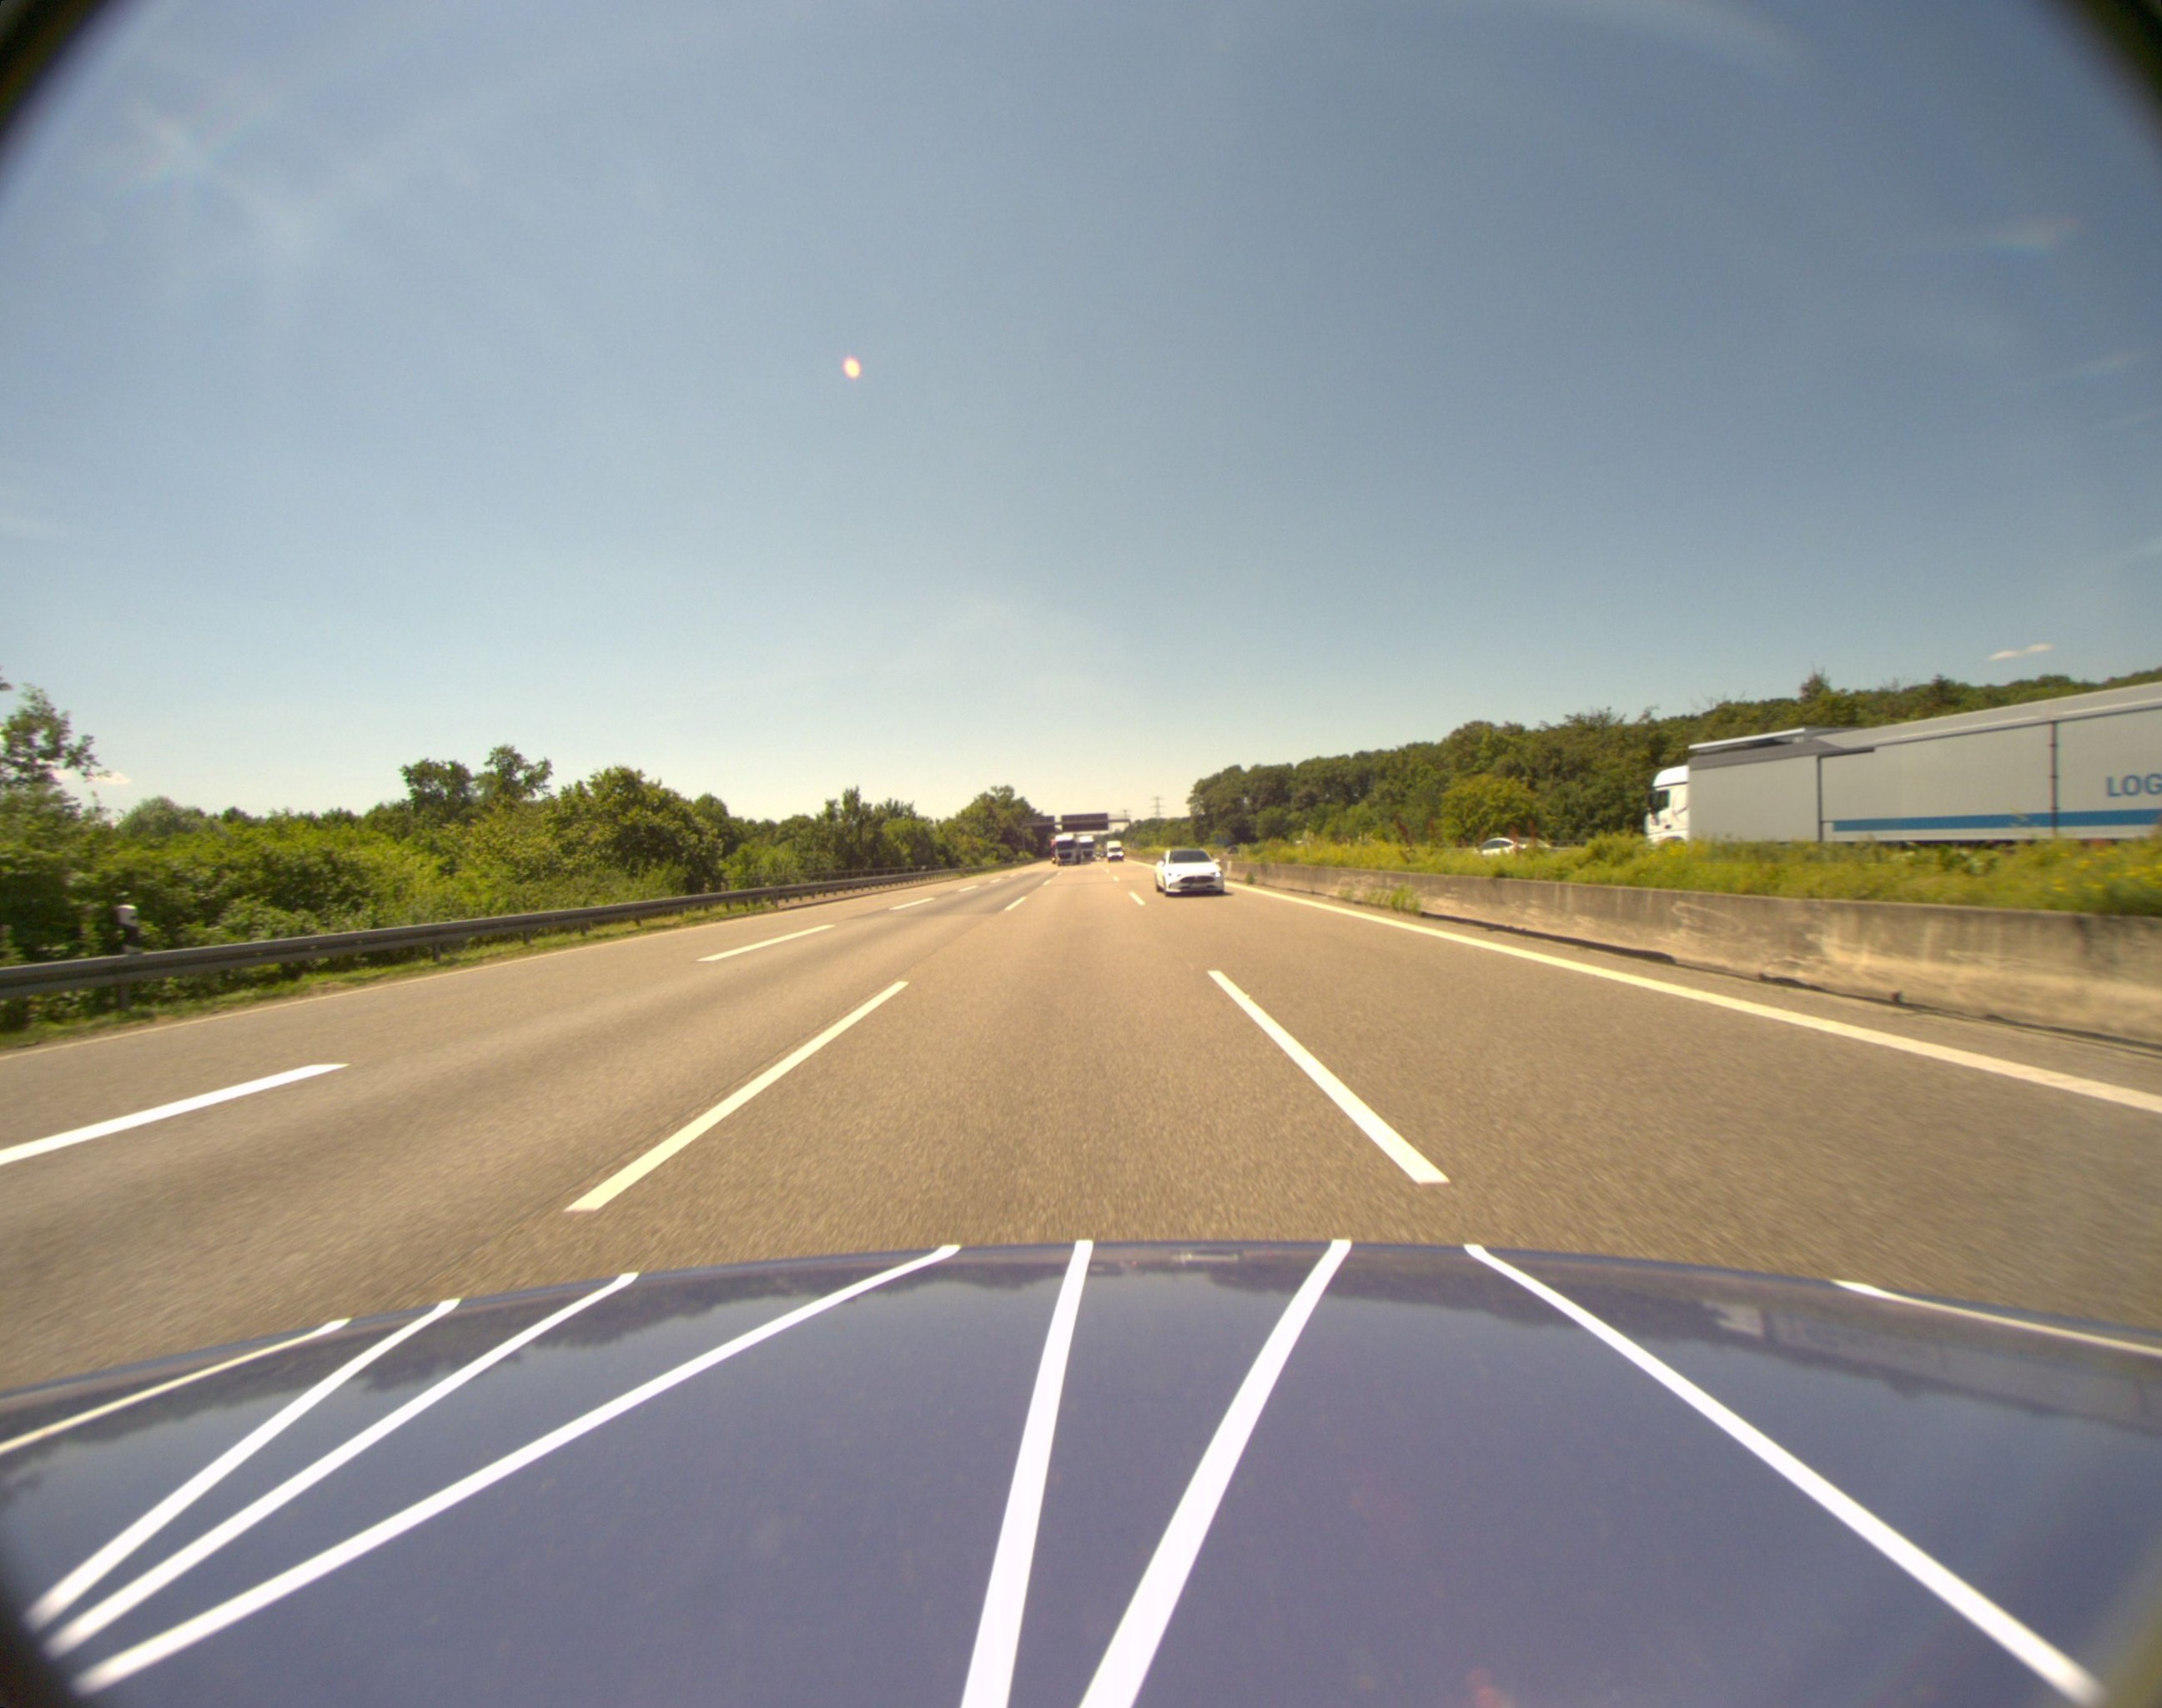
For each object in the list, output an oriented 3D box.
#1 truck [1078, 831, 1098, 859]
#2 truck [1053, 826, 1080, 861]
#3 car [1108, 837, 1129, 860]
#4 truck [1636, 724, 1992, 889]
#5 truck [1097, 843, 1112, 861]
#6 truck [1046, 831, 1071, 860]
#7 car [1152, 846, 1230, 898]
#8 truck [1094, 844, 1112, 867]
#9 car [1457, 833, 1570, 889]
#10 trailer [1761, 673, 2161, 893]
[{"bbox_3d":[1.210,-1.437,122.369,2.700,4.232,8.243,-5,1,2],"label":"truck"},{"bbox_3d":[-1.853,-1.386,100.363,2.990,4.187,7.592,-3,1,2],"label":"truck"},{"bbox_3d":[4.950,-0.753,101.386,2.521,2.857,6.399,-5,1,2],"label":"car"},{"bbox_3d":[21.553,-1.227,23.327,2.992,4.053,8.192,-2,0,1],"label":"truck"},{"bbox_3d":[5.983,-0.505,191.433,3.333,4.351,8.501,-4,1,2],"label":"truck"},{"bbox_3d":[-3.738,-1.395,127.397,3.333,4.351,8.501,-4,1,2],"label":"truck"},{"bbox_3d":[3.459,0.504,24.874,1.771,1.440,5.107,-3,0,0],"label":"car"},{"bbox_3d":[4.516,0.332,156.228,3.333,4.351,8.501,-4,1,2],"label":"truck"},{"bbox_3d":[17.375,0.255,30.830,1.998,2.002,4.587,-2,0,1],"label":"car"},{"bbox_3d":[21.470,-1.381,16.433,2.992,4.053,11.773,-2,0,1],"label":"trailer"}]
